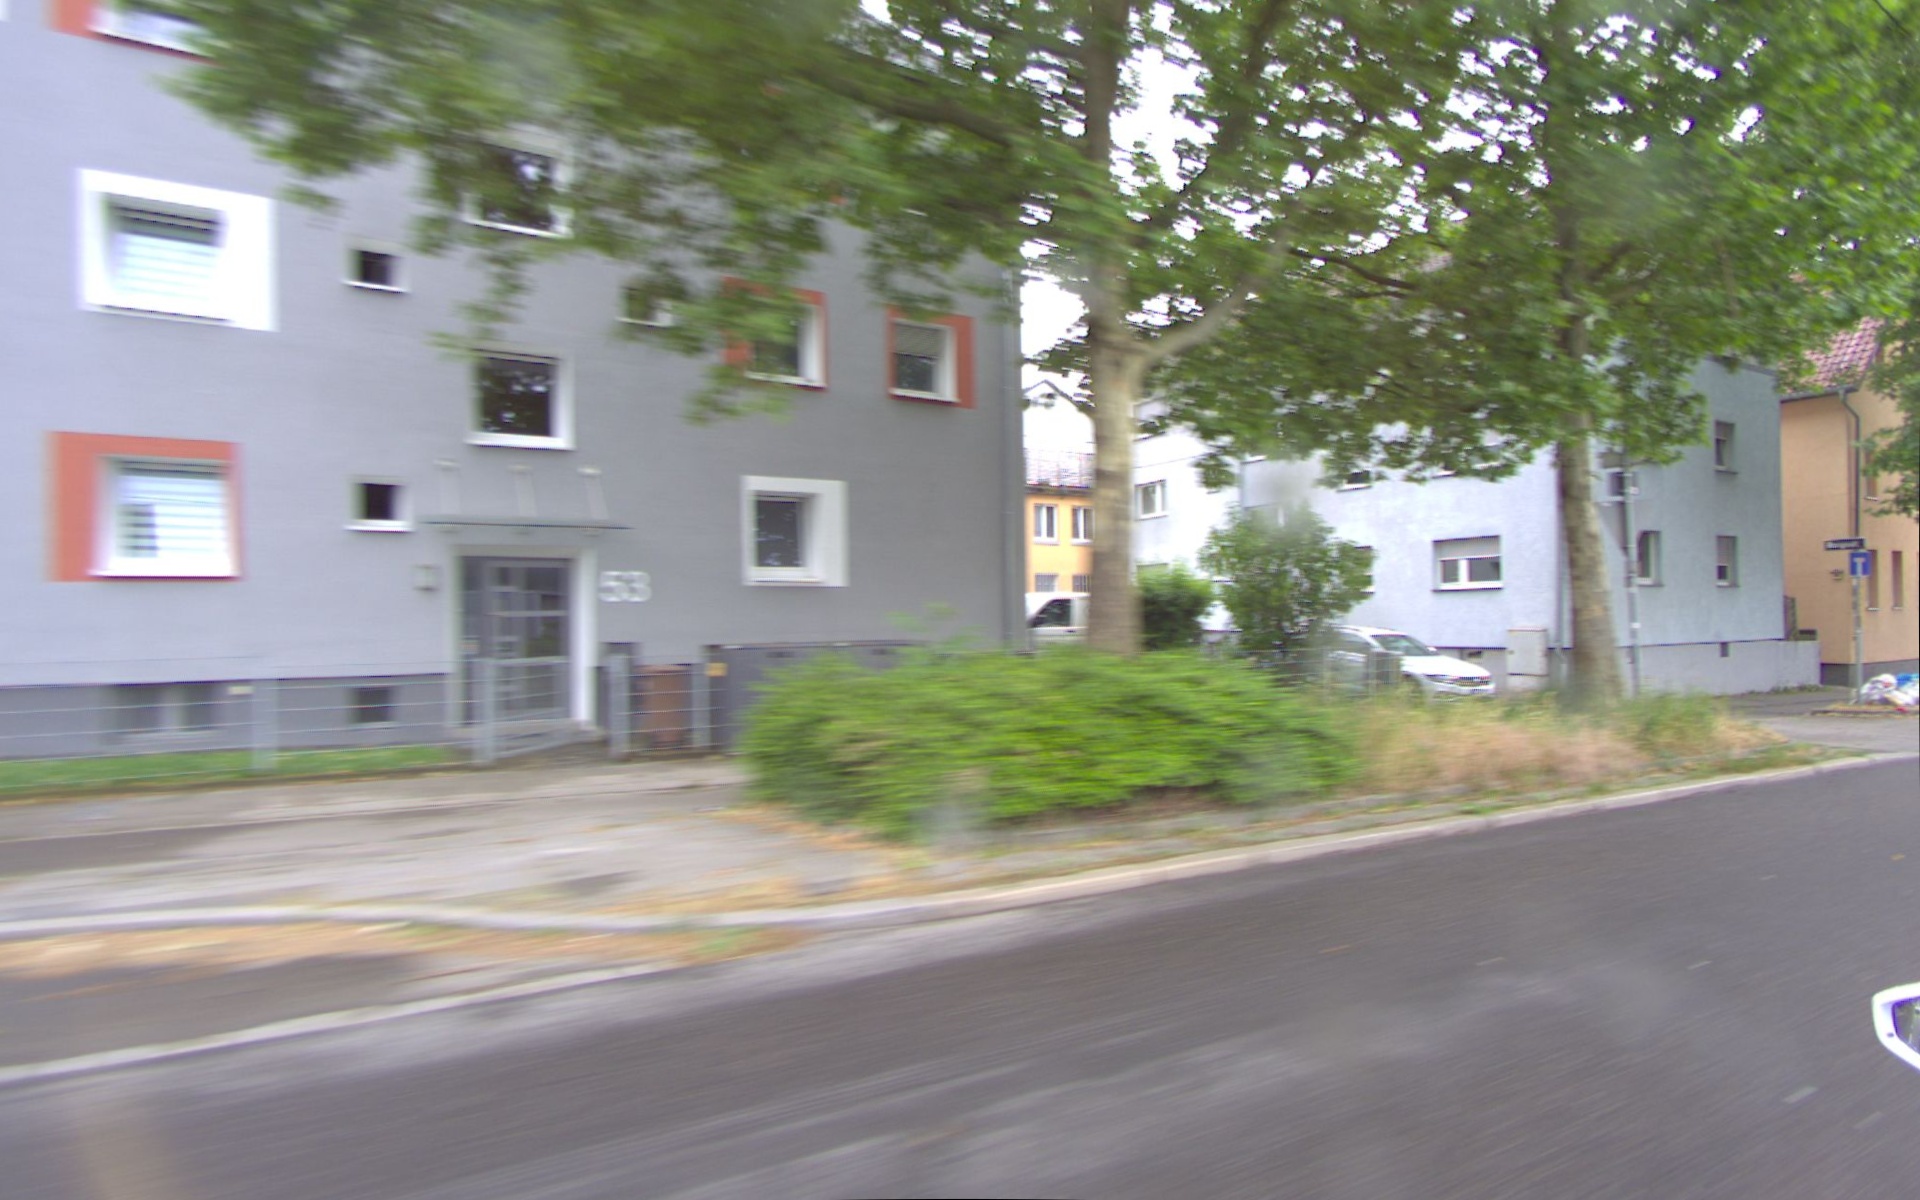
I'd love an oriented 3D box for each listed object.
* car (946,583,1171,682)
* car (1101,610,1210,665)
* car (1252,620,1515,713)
[{"bbox_3d":[2.146,0.712,21.717,4.492,1.945,1.878,2,0,-26],"label":"car"},{"bbox_3d":[5.919,1.086,30.677,1.598,1.481,3.143,-1,1,-30],"label":"car"},{"bbox_3d":[8.229,1.234,19.999,1.848,1.496,4.640,2,0,-30],"label":"car"}]
